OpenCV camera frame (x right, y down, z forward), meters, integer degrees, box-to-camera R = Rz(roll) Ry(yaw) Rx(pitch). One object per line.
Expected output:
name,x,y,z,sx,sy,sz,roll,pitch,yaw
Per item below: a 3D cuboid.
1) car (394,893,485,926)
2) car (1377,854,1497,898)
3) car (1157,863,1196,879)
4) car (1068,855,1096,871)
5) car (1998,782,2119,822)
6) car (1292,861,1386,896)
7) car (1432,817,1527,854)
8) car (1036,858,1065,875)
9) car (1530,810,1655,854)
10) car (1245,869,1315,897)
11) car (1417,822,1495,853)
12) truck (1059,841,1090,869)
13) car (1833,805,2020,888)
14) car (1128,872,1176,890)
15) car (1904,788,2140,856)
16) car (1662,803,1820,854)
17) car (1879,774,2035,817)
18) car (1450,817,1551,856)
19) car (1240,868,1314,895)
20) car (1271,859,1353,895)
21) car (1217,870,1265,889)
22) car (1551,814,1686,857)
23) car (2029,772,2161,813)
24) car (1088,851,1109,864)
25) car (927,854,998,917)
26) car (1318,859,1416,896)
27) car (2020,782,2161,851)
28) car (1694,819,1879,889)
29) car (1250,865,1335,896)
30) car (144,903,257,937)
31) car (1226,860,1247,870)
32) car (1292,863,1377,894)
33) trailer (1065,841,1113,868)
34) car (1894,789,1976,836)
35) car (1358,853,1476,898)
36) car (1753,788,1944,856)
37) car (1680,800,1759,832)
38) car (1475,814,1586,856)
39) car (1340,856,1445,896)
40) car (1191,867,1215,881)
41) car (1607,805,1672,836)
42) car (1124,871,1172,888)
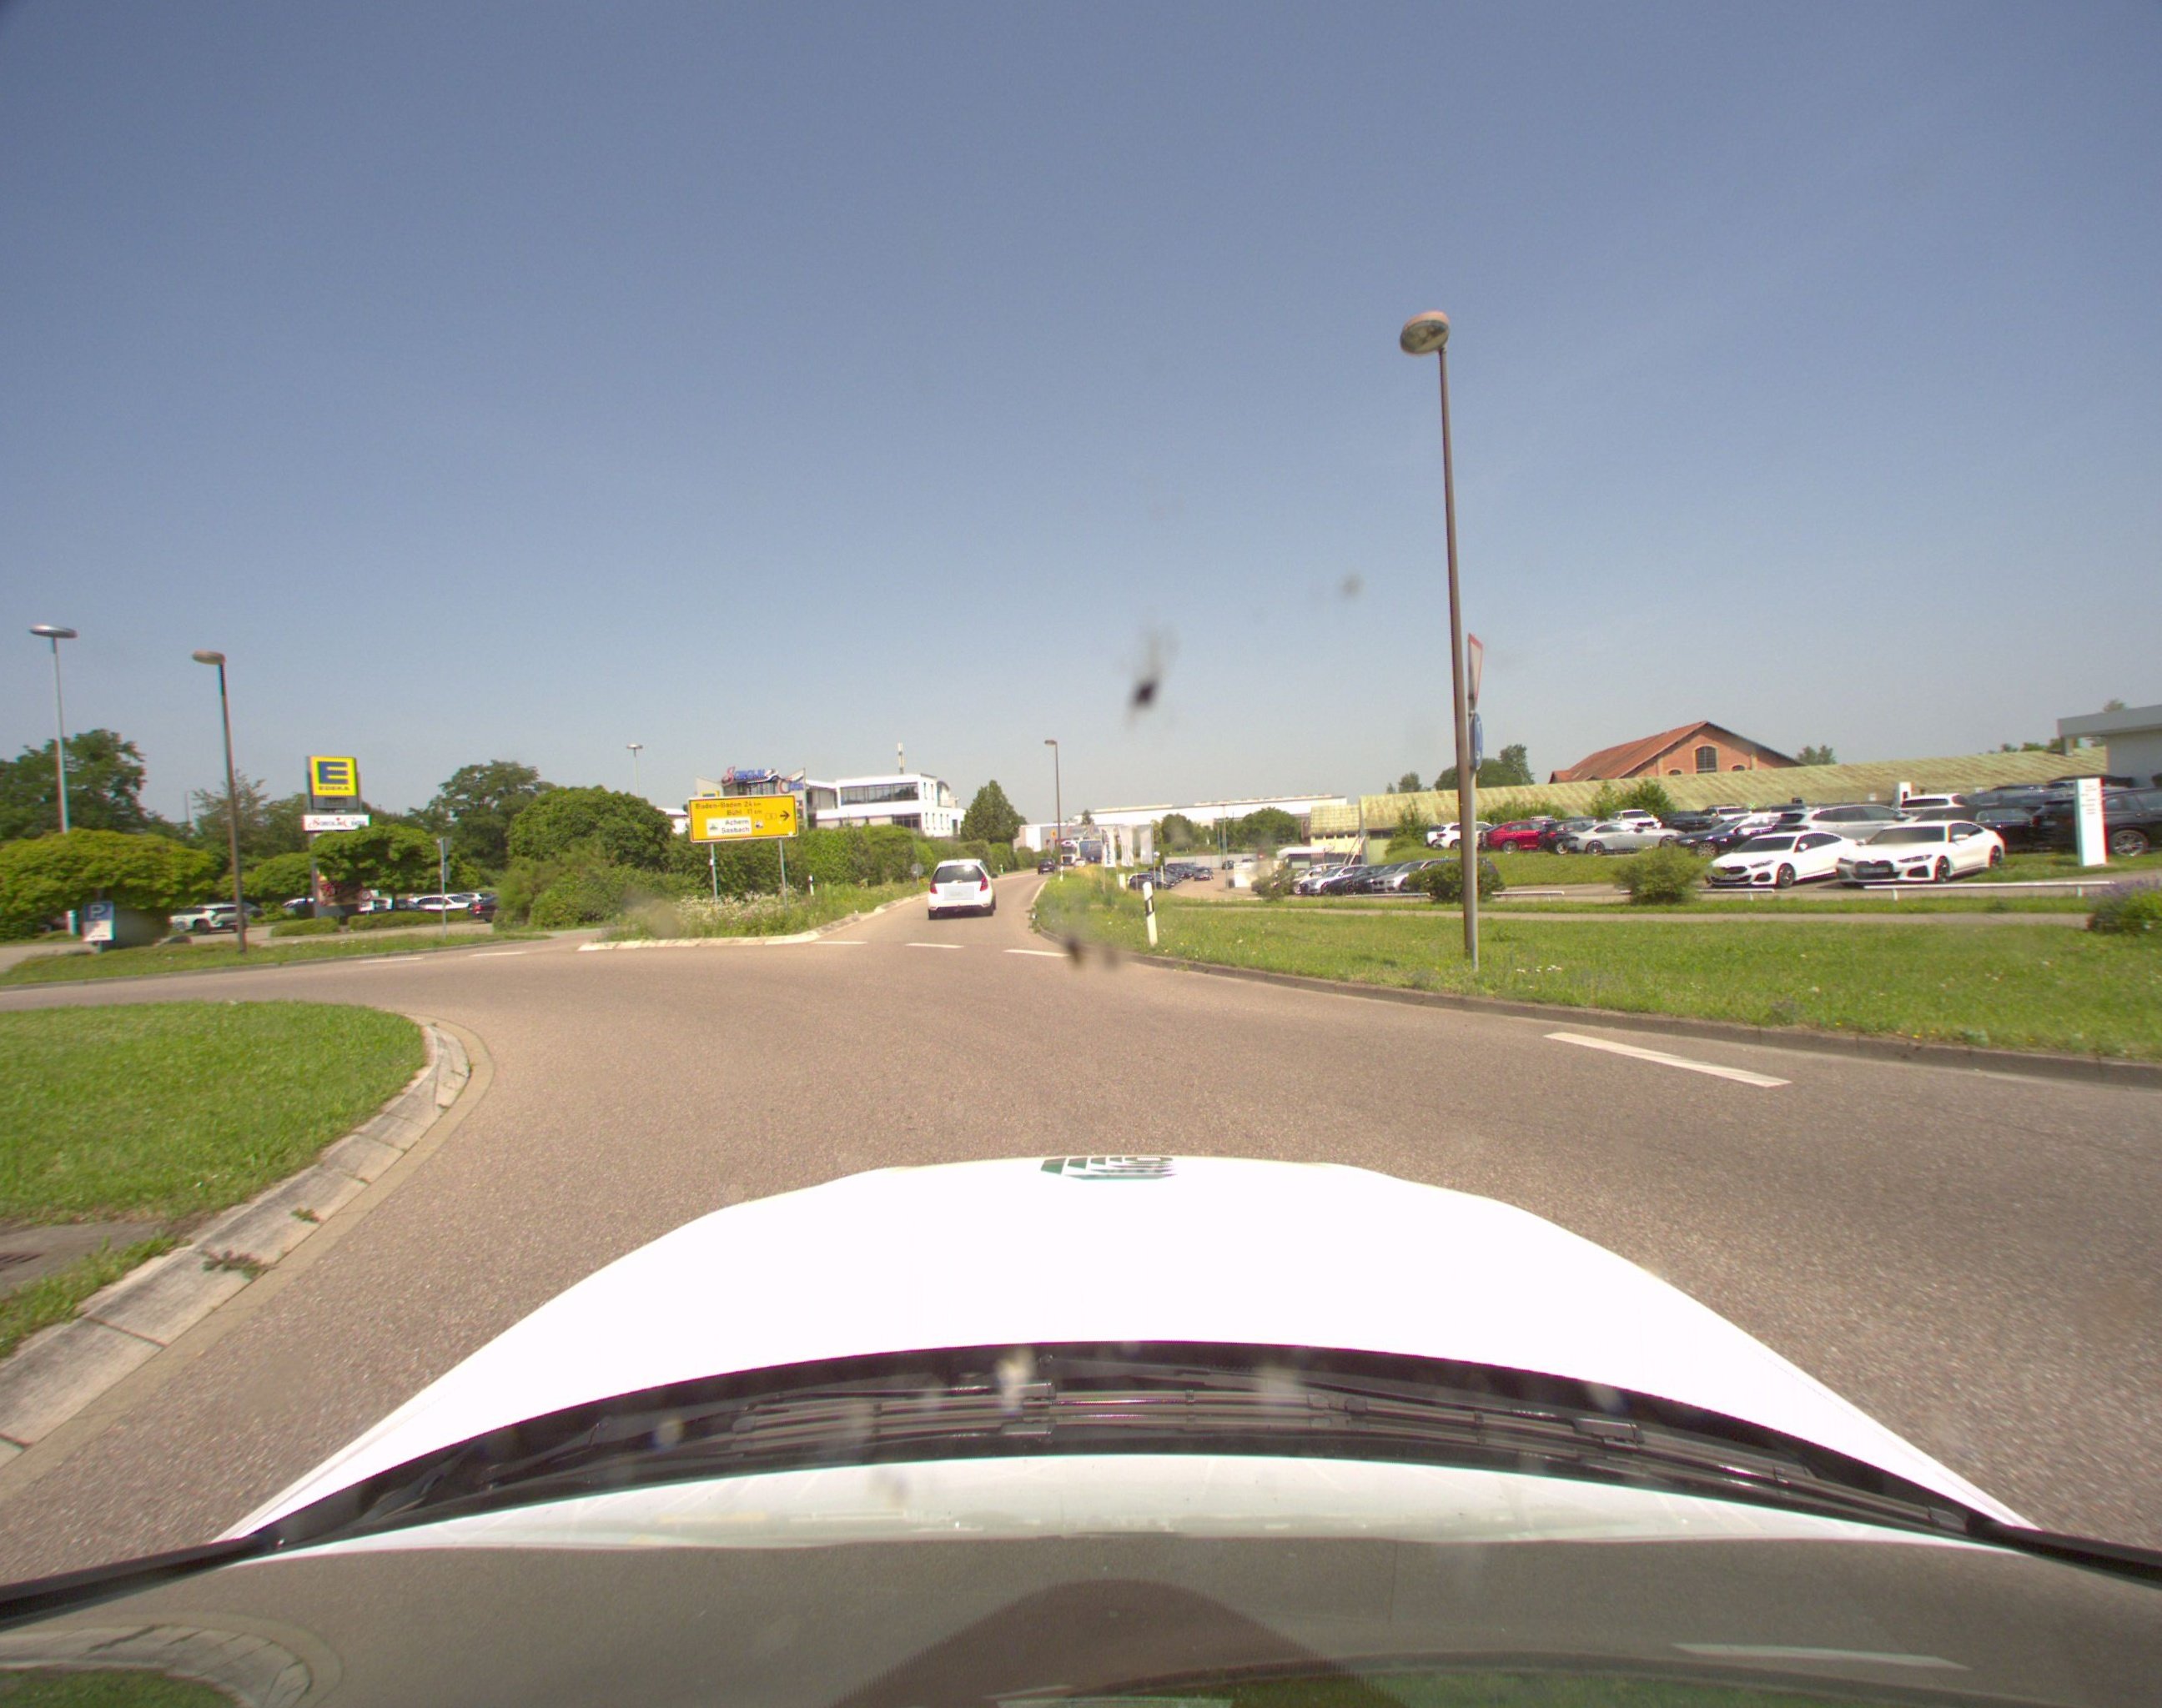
car,-35.998,3.130,45.716,3.957,1.574,2.008,-3,-1,16
car,15.200,0.950,34.811,4.571,1.421,1.772,-5,-3,-18
car,11.521,2.093,98.619,4.181,1.700,1.931,-2,2,39
car,0.202,1.239,111.497,1.974,2.014,4.025,-2,-1,32
car,33.922,-1.797,28.290,2.950,1.110,1.620,-4,0,-16
car,14.054,1.330,44.381,4.424,1.465,1.915,-5,-3,-12
car,22.345,-1.027,45.831,4.420,1.747,1.847,-4,0,15
car,-2.873,1.188,77.617,1.818,1.470,4.422,-2,-1,9
car,23.269,-0.973,37.234,4.420,1.634,1.958,-4,0,15
car,13.147,1.913,54.048,3.985,1.552,1.994,-4,-3,-8
car,22.019,-0.988,47.920,3.846,1.532,1.776,-4,0,15
truck,-0.959,0.116,129.986,2.491,4.257,6.147,-4,-1,23
car,21.226,-0.209,20.428,4.674,1.570,1.754,-6,1,-25
car,6.509,2.449,74.775,4.118,1.523,1.701,-2,-1,35
car,26.821,-0.903,23.390,3.966,1.499,1.958,-5,1,15
car,23.651,-0.903,29.383,3.961,1.526,1.960,-4,0,21
car,39.848,-2.629,37.193,4.416,1.522,1.960,-4,0,20
car,22.183,-0.925,43.241,4.420,1.747,1.847,-4,0,15
car,13.673,1.907,56.945,4.478,1.640,2.142,-2,-2,-8
car,13.964,1.415,49.430,4.240,1.748,1.997,-5,-3,-4
car,14.361,2.290,73.167,3.755,1.523,1.762,-2,-1,29
car,22.992,-0.781,35.016,4.420,1.500,1.958,-4,0,15
car,39.065,-2.335,31.100,1.653,1.275,3.331,-4,0,-10
car,2.839,0.550,131.683,1.975,2.014,4.023,-2,-1,26
car,-3.500,0.868,23.522,1.782,1.603,3.878,-2,-1,-11
car,14.584,1.218,41.675,4.240,1.412,1.920,-5,-3,-4
car,26.762,-1.033,20.023,4.379,1.500,1.958,-6,-2,15
car,19.720,-0.010,22.776,4.577,1.570,1.757,-4,-1,-19
car,13.398,1.699,51.684,4.757,1.508,1.997,-5,-3,-4
car,-47.132,3.512,43.629,3.970,1.516,1.980,-2,-1,3
car,23.492,1.633,123.039,1.975,1.398,4.024,-2,-1,27
car,14.602,1.425,47.032,4.240,1.465,1.871,-4,-3,-4
trailer,1.525,0.036,136.258,2.647,4.241,14.643,-2,-1,22
car,33.239,-1.640,31.664,4.288,1.586,1.639,-4,0,-36
car,15.194,0.989,36.913,4.563,1.566,1.914,-5,-3,-13
car,24.692,-0.995,26.381,3.966,1.750,1.958,-5,0,15
car,37.186,-2.165,47.570,2.170,1.596,4.324,-4,0,18
car,22.331,-0.915,40.656,4.420,1.747,1.958,-4,0,15
car,14.992,1.057,39.269,4.253,1.482,1.914,-5,-3,-13
car,14.097,2.260,93.922,2.119,1.457,4.551,-2,-1,15
car,33.073,-1.939,48.356,1.901,1.596,4.324,-4,0,18
car,6.415,2.485,78.195,4.118,1.523,1.762,-2,-1,31
